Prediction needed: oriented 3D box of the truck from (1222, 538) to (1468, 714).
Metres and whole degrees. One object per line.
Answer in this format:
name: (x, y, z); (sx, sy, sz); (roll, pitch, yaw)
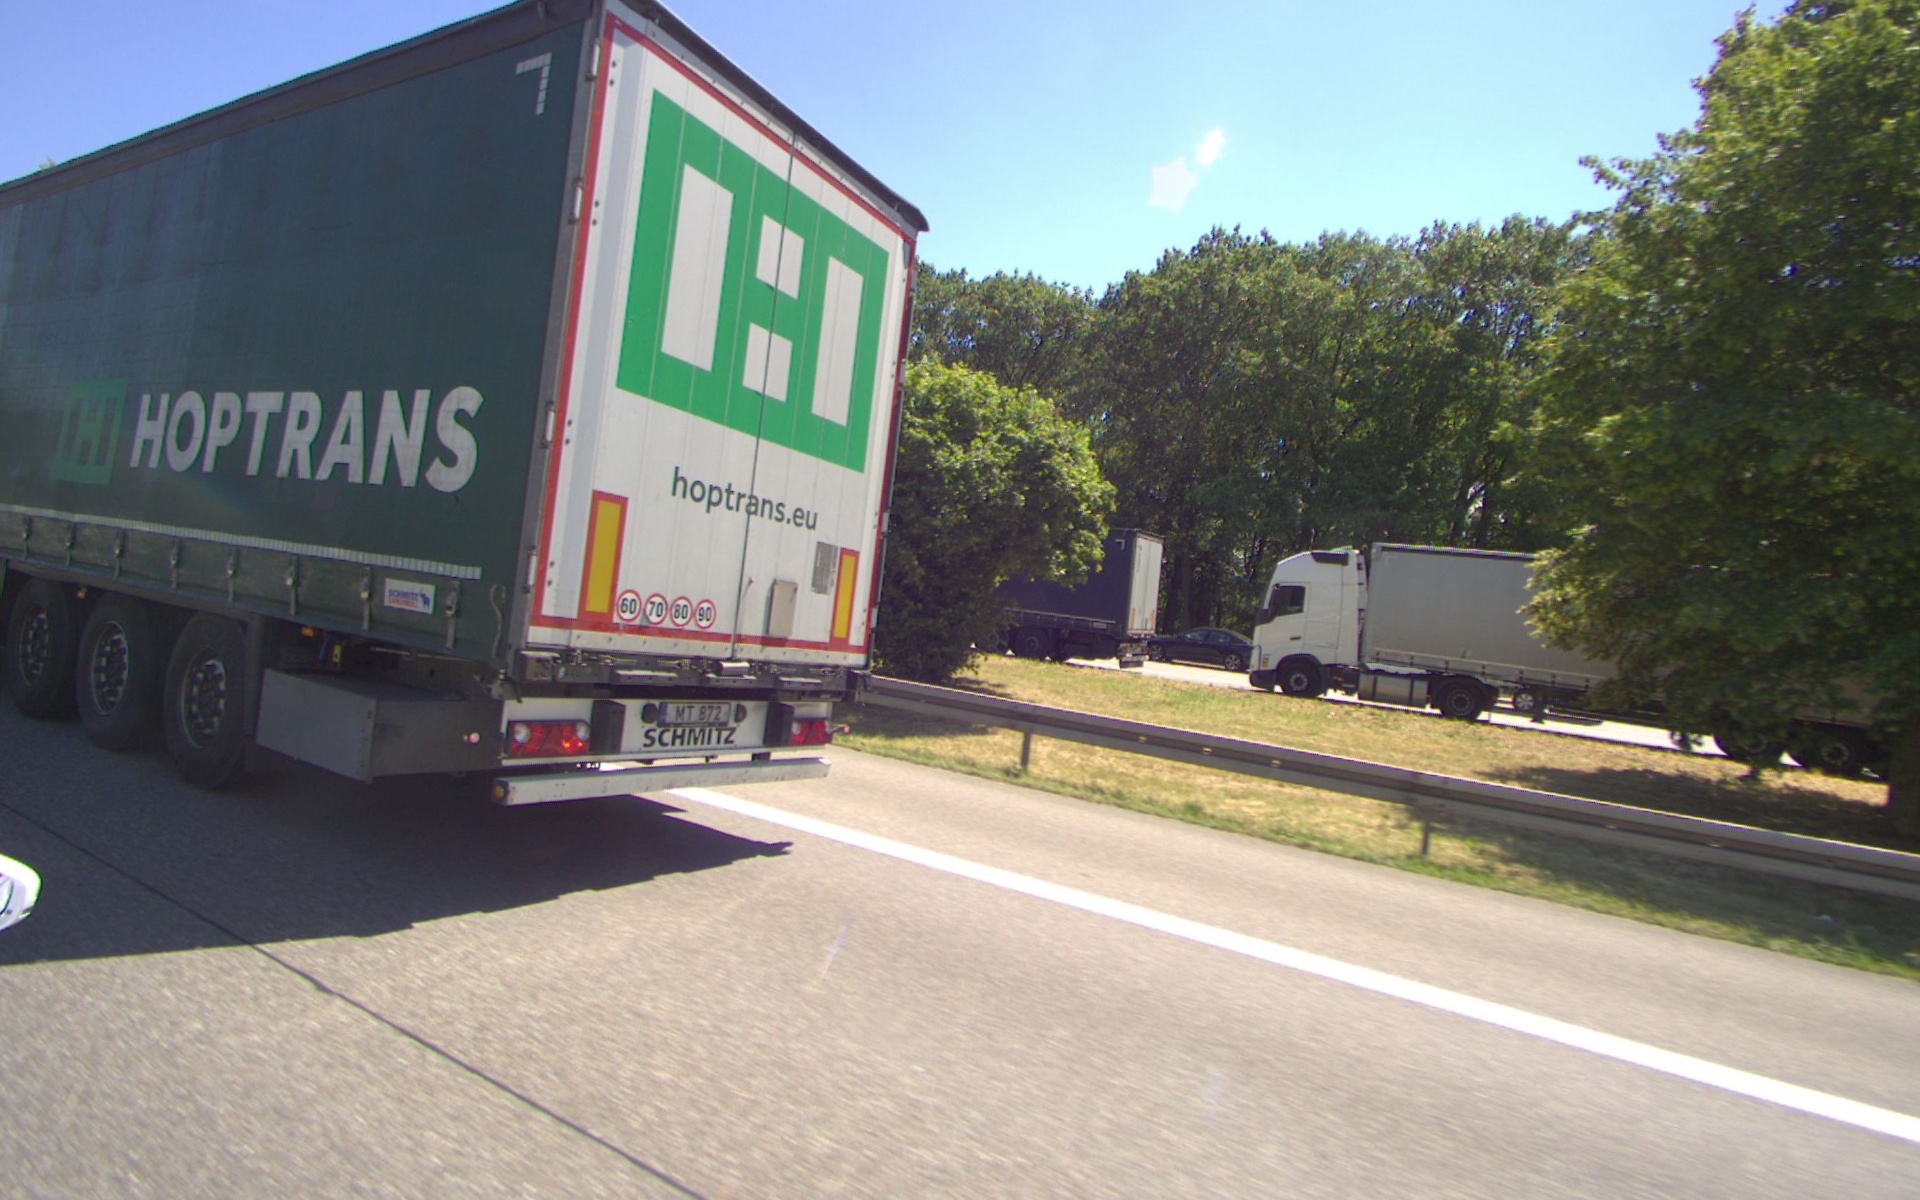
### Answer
truck: (10.143, 0.683, 26.498); (5.228, 3.835, 3.095); (7, -1, 31)

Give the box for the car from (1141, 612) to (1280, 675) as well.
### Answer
car: (9.130, 1.585, 36.741); (4.403, 1.741, 1.996); (7, 0, 32)

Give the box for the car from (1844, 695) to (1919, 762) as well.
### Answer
car: (26.176, 3.576, 26.608); (3.940, 1.566, 1.842); (7, 0, 38)

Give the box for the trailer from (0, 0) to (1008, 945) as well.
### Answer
trailer: (-5.789, -1.440, 8.335); (11.848, 4.684, 3.186); (7, 0, 31)

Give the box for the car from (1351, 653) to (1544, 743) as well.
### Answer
car: (15.376, 3.032, 31.848); (5.150, 2.039, 1.996); (7, 0, 32)

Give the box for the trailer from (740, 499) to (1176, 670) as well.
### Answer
trailer: (-0.509, -0.659, 32.331); (13.953, 4.002, 3.140); (7, 0, 29)

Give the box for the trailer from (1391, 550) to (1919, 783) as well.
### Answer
trailer: (16.971, 1.469, 22.139); (13.145, 3.835, 3.107); (7, -1, 33)

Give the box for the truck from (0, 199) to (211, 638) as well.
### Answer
truck: (-12.897, -2.256, 12.715); (5.848, 4.663, 3.187); (7, 0, 31)
